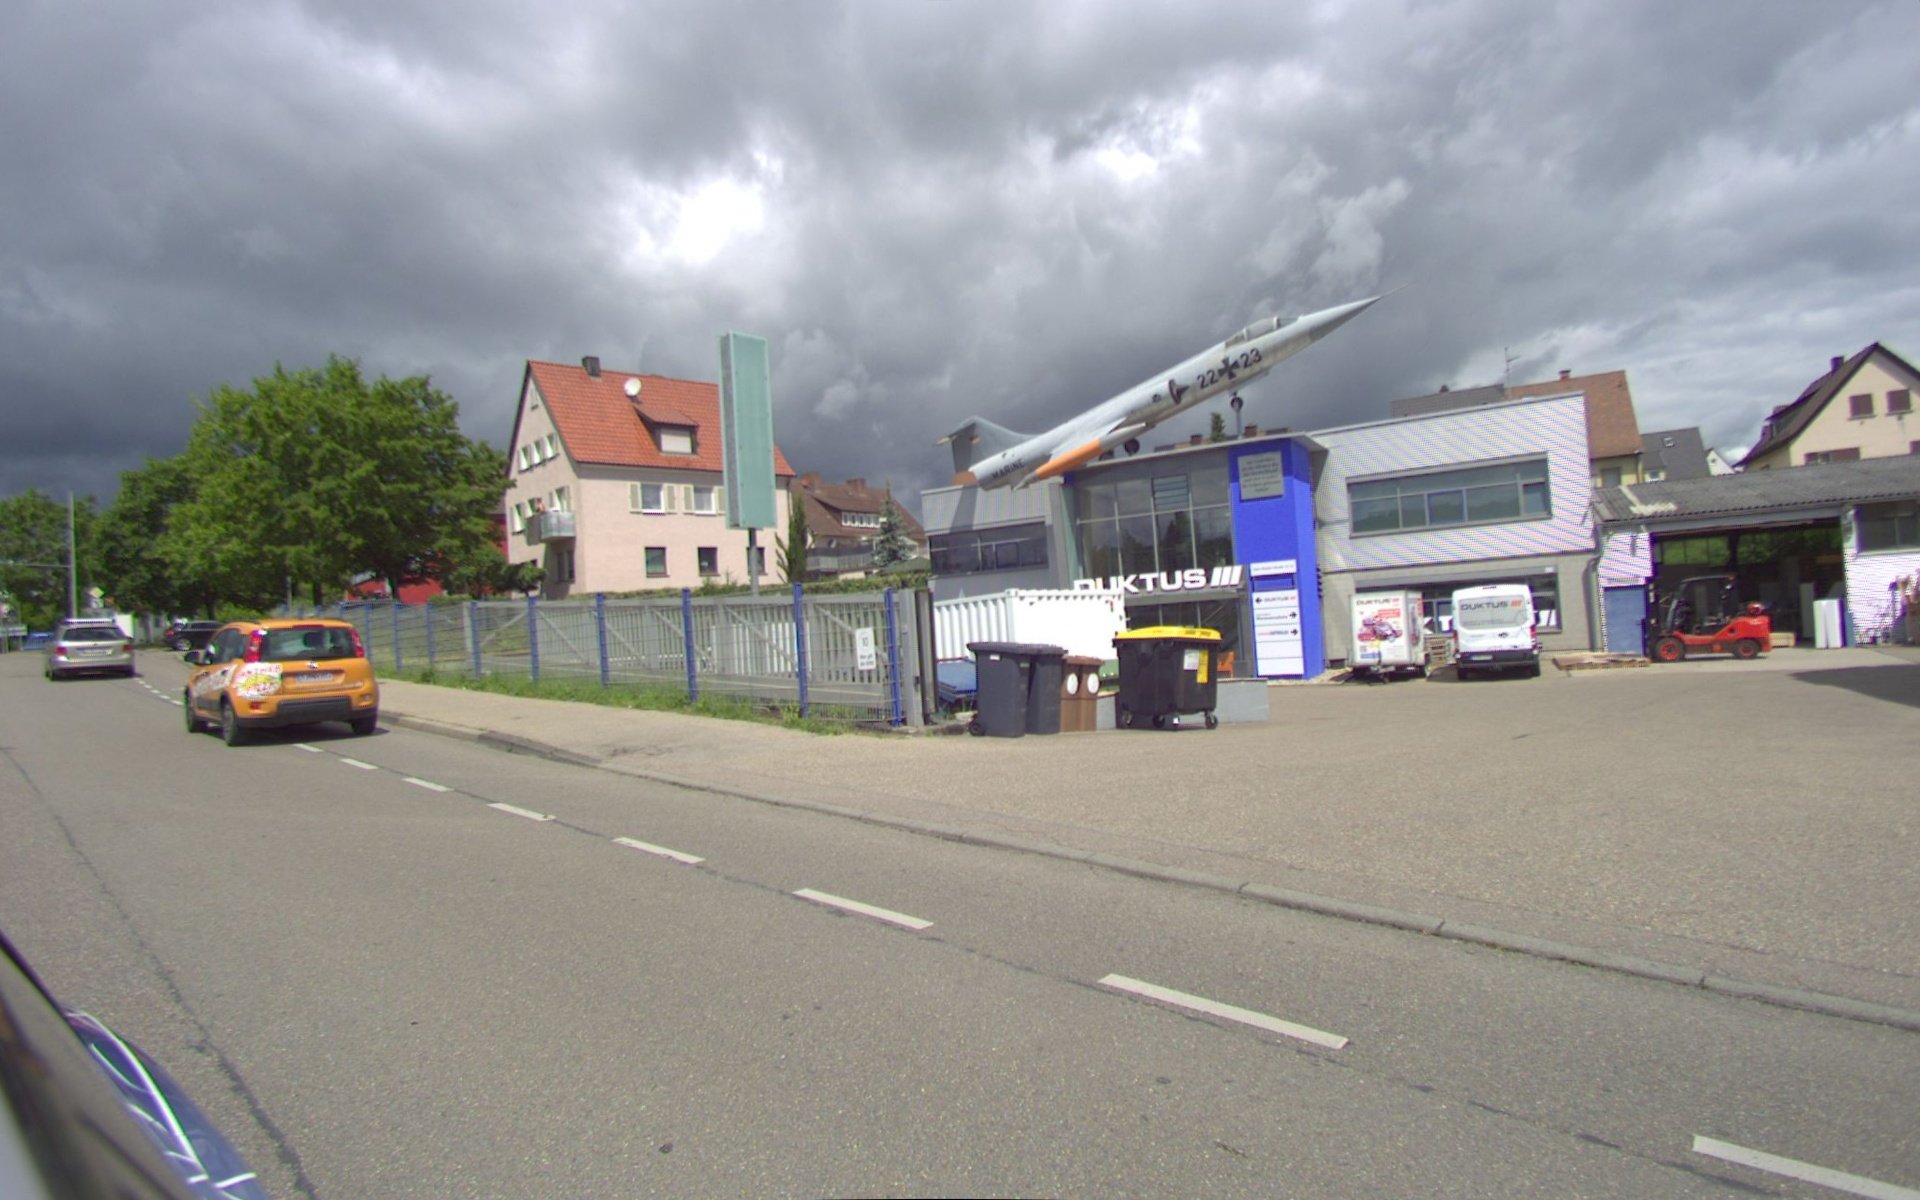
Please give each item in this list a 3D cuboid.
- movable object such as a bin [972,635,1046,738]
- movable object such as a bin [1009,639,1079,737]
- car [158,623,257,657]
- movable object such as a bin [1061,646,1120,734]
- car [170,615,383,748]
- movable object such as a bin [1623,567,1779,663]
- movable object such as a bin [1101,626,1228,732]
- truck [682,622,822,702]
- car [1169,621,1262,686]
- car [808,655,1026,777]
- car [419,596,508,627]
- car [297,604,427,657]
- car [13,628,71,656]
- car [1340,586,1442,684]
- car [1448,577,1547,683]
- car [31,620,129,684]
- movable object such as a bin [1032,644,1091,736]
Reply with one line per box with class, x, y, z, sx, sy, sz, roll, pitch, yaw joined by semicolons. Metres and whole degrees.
movable object such as a bin;0.553;0.948;11.258;0.516;1.089;0.655;-2;-4;41
movable object such as a bin;0.974;0.999;11.685;0.516;1.089;0.655;-2;-4;41
car;-37.579;1.961;50.583;3.800;1.517;1.588;-1;0;-42
movable object such as a bin;1.616;1.097;12.515;0.516;1.053;0.509;-2;-4;41
car;-9.236;0.980;13.566;3.682;1.502;1.583;-1;0;43
movable object such as a bin;20.042;0.425;27.530;3.134;2.368;1.419;-5;-2;31
movable object such as a bin;2.730;1.026;13.470;1.231;1.316;1.208;-2;-4;41
truck;-8.177;2.268;39.199;2.288;2.752;6.601;-1;0;-42
car;8.724;1.762;34.316;1.851;1.790;4.577;-6;-2;29
car;-0.727;1.655;15.328;1.414;1.470;3.365;-1;0;-44
car;-26.167;0.614;53.403;3.959;1.517;1.588;-1;0;-42
car;-22.220;1.101;37.714;1.523;1.789;3.903;-2;0;41
car;-74.419;3.376;82.127;1.928;1.984;5.148;-1;0;-23
car;13.213;0.989;30.885;1.986;2.620;4.681;-6;-2;32
car;14.993;0.774;28.453;1.981;2.620;4.582;-6;-2;25
car;-23.583;1.329;27.064;4.223;1.544;1.624;-1;0;44
movable object such as a bin;1.224;1.067;12.190;0.497;1.068;0.496;-2;-4;41
